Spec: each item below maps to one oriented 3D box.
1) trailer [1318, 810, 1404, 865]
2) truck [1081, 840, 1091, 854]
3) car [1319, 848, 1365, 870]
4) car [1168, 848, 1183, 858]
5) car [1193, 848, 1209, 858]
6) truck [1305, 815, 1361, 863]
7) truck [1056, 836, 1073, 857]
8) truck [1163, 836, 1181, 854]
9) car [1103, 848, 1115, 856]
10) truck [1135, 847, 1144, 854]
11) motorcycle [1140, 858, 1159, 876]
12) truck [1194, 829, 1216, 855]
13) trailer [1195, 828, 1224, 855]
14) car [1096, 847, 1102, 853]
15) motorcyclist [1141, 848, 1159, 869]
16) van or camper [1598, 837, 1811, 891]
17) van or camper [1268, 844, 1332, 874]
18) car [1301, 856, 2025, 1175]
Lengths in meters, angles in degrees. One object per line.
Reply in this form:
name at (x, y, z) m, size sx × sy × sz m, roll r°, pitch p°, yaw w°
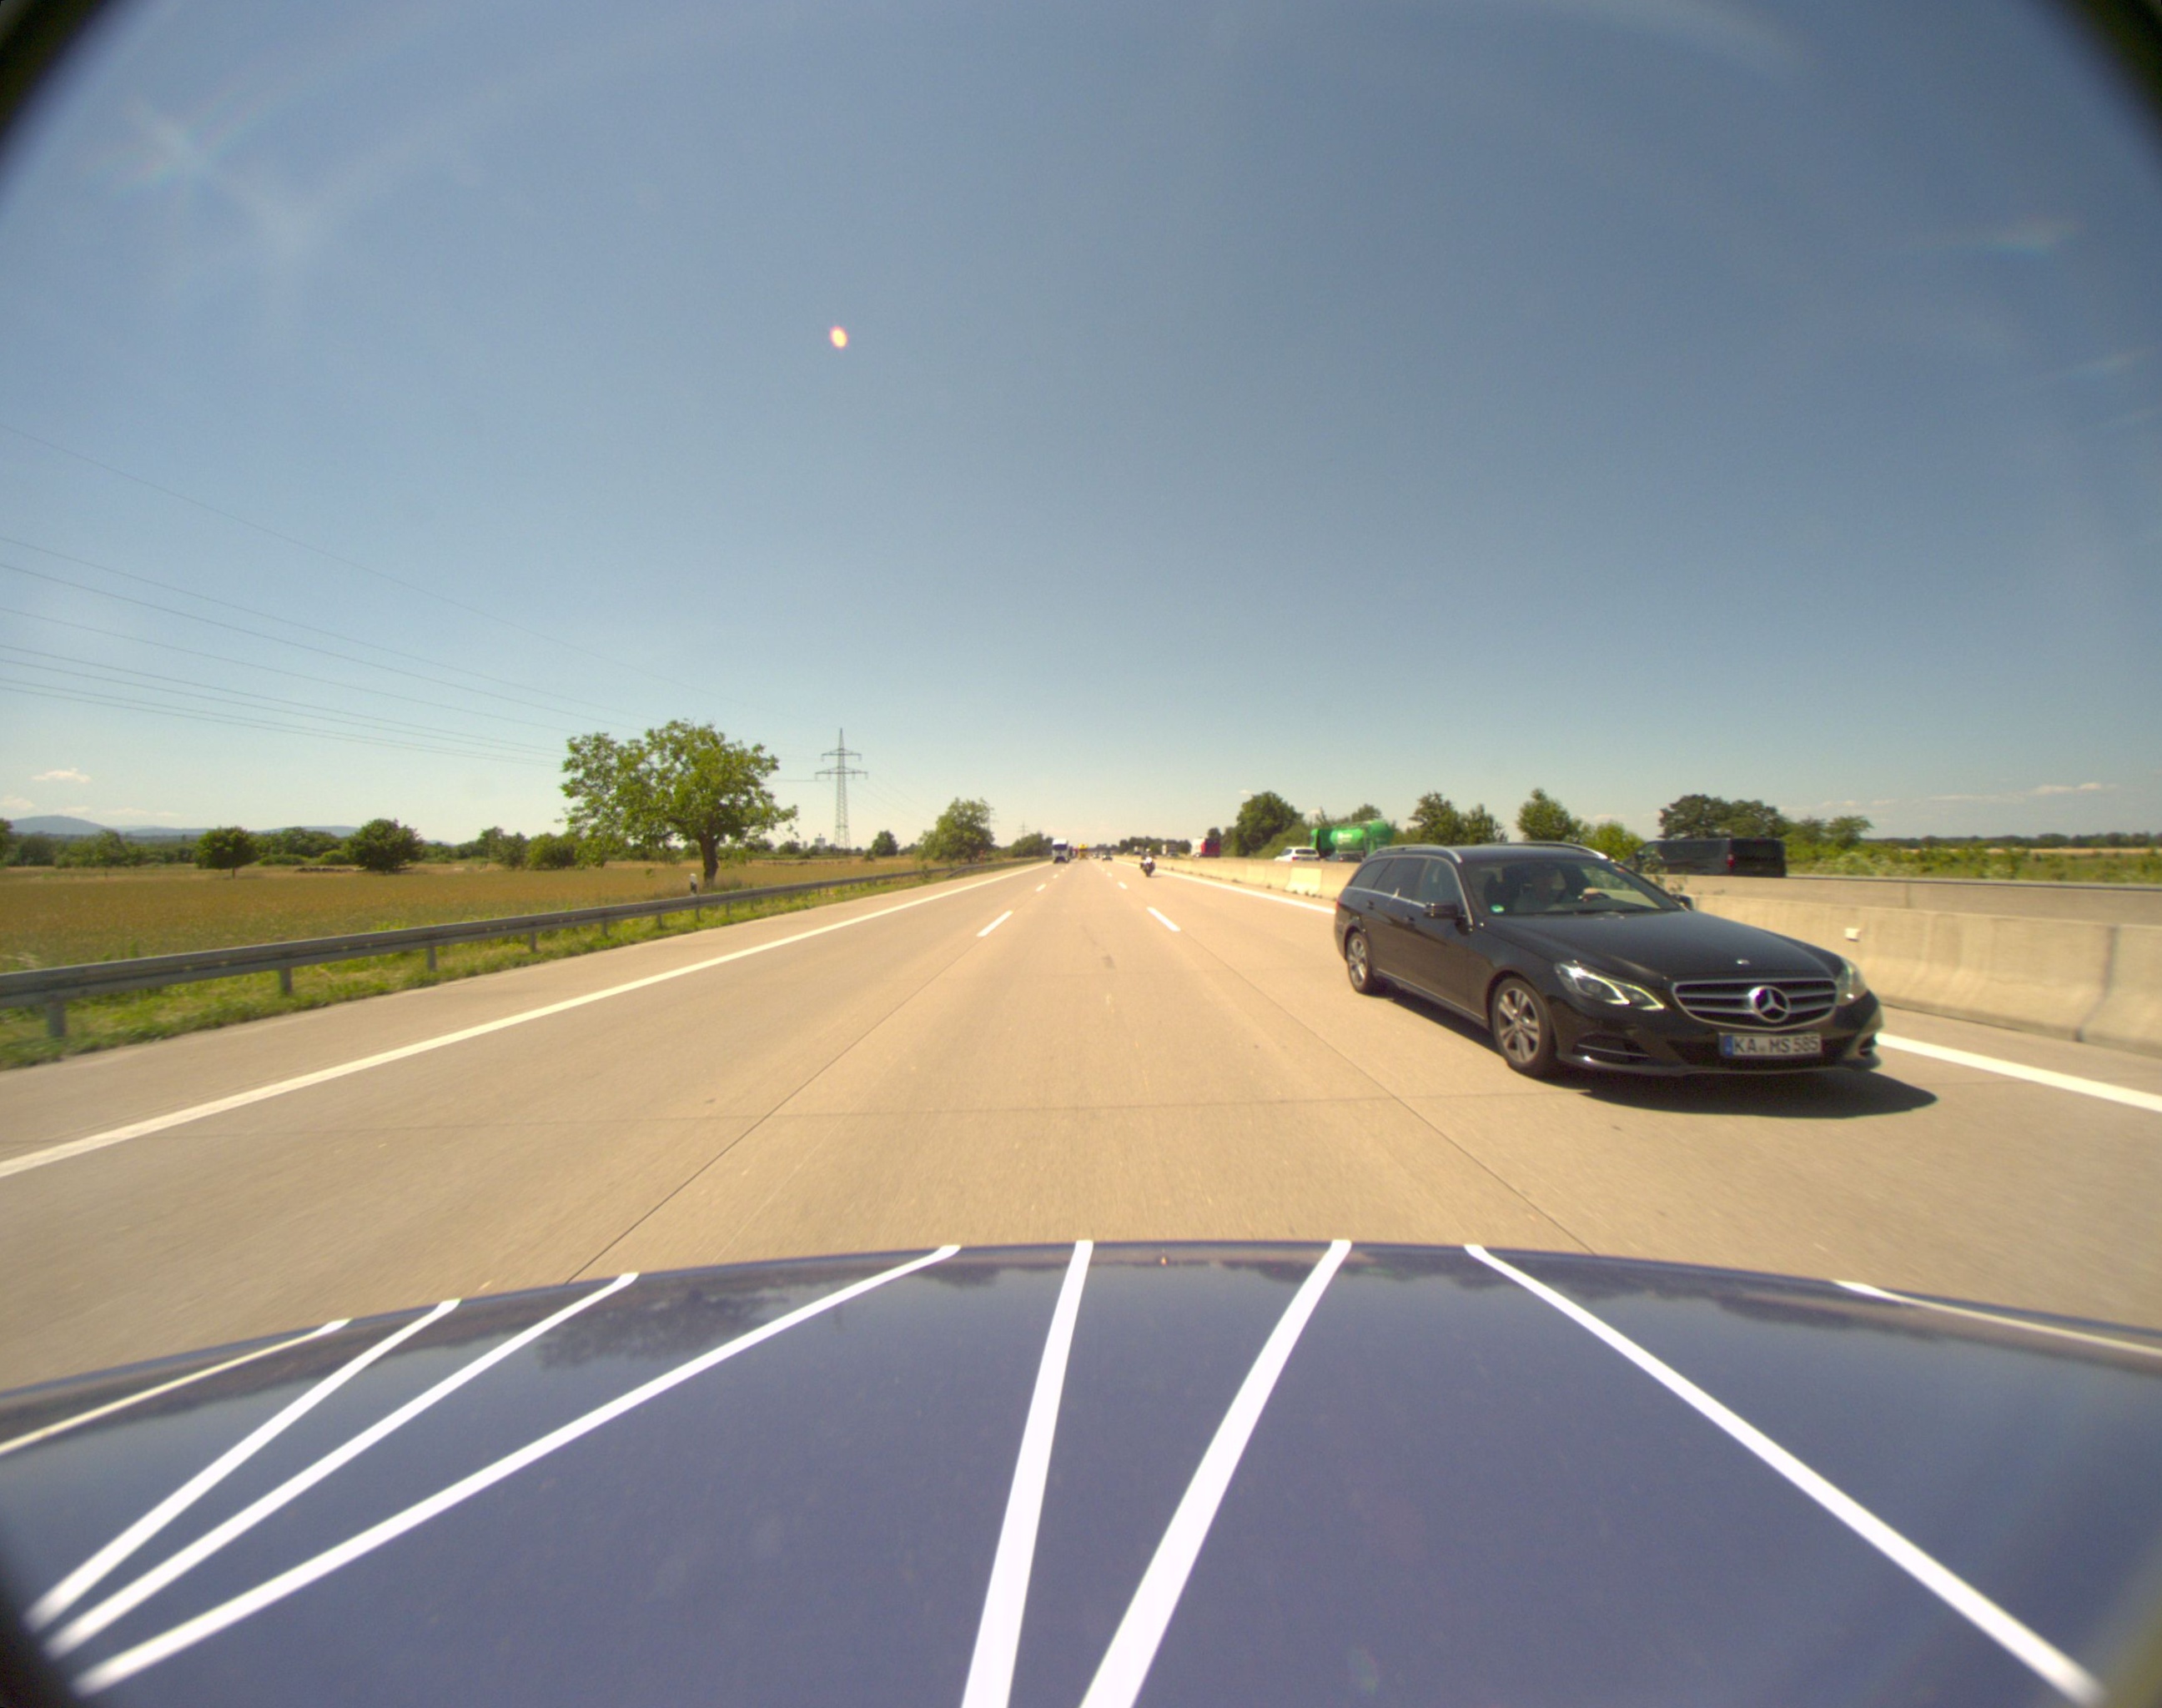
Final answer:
trailer at (21.455, -1.189, 59.092) m, size 2.742 × 3.855 × 11.104 m, roll -1°, pitch 0°, yaw 1°
truck at (1.265, -1.899, 202.707) m, size 2.570 × 3.711 × 10.099 m, roll -1°, pitch 0°, yaw 0°
car at (16.951, 0.303, 49.525) m, size 1.700 × 1.325 × 4.000 m, roll -1°, pitch 0°, yaw 1°
car at (13.345, -0.132, 107.743) m, size 1.720 × 1.392 × 3.807 m, roll -1°, pitch 0°, yaw 0°
car at (17.548, -0.190, 111.546) m, size 1.628 × 1.392 × 4.546 m, roll -1°, pitch 0°, yaw 0°
truck at (21.543, -1.264, 65.262) m, size 2.751 × 3.860 × 6.204 m, roll -1°, pitch 1°, yaw 1°
truck at (-2.774, -1.275, 130.346) m, size 2.570 × 3.514 × 10.099 m, roll -1°, pitch 0°, yaw 0°
truck at (22.331, -2.216, 186.762) m, size 3.240 × 4.150 × 8.127 m, roll -1°, pitch 0°, yaw 0°
car at (5.177, -0.336, 141.622) m, size 1.998 × 1.518 × 4.000 m, roll -1°, pitch 0°, yaw 0°
truck at (14.641, -0.929, 190.152) m, size 1.867 × 1.750 × 3.950 m, roll -1°, pitch 0°, yaw 0°
motorcycle at (4.151, 0.776, 45.999) m, size 1.023 × 1.042 × 2.413 m, roll -1°, pitch 0°, yaw 2°
truck at (22.060, -2.109, 135.342) m, size 2.809 × 4.511 × 6.661 m, roll -1°, pitch 1°, yaw 1°
trailer at (21.974, -2.081, 130.952) m, size 2.809 × 4.511 × 13.233 m, roll -1°, pitch 0°, yaw 1°
car at (5.041, -1.113, 216.390) m, size 1.586 × 1.527 × 3.611 m, roll -1°, pitch 0°, yaw 0°
motorcyclist at (4.124, 0.251, 45.647) m, size 1.027 × 1.202 × 0.911 m, roll -1°, pitch 1°, yaw 2°
van or camper at (21.133, 0.299, 26.279) m, size 2.371 × 1.612 × 6.091 m, roll -1°, pitch 0°, yaw 0°
van or camper at (13.052, 0.287, 45.770) m, size 2.247 × 1.683 × 5.849 m, roll -1°, pitch 0°, yaw 1°
car at (3.613, 0.787, 6.458) m, size 1.895 × 1.465 × 5.603 m, roll -1°, pitch 0°, yaw 0°
